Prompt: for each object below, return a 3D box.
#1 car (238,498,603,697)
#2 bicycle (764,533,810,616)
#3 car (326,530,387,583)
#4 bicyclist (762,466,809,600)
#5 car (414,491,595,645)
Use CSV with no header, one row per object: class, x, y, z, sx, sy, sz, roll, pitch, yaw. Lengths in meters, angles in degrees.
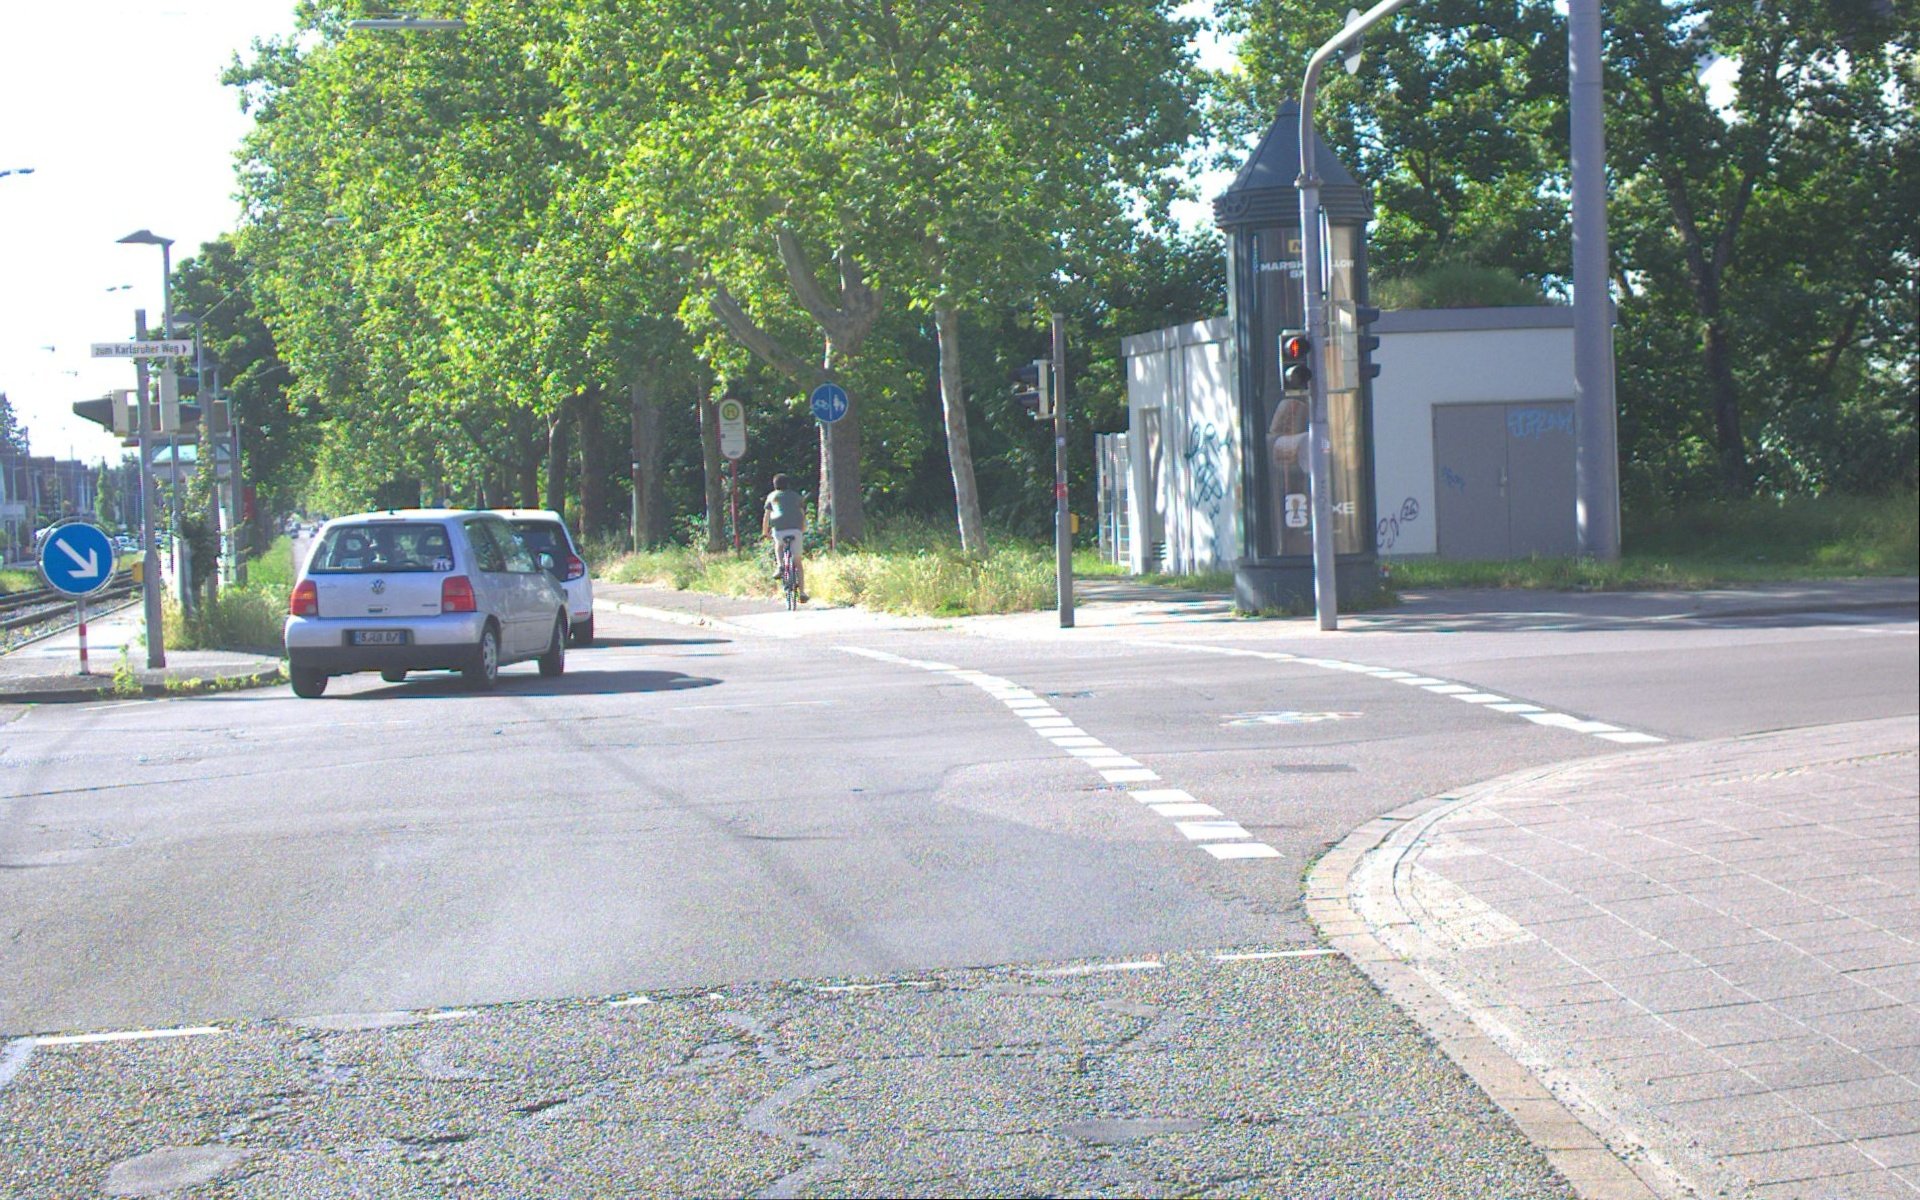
car,-4.318,-0.065,28.074,1.868,1.481,3.554,-1,1,10
bicycle,-2.322,-0.346,46.153,0.536,1.062,1.434,-2,2,-1
car,-19.476,-1.418,110.875,1.750,1.599,3.582,-3,2,-12
bicyclist,-2.348,-0.902,46.263,0.534,1.763,0.713,-2,2,-1
car,-5.238,-0.390,39.198,1.750,1.599,3.751,-3,2,-11
